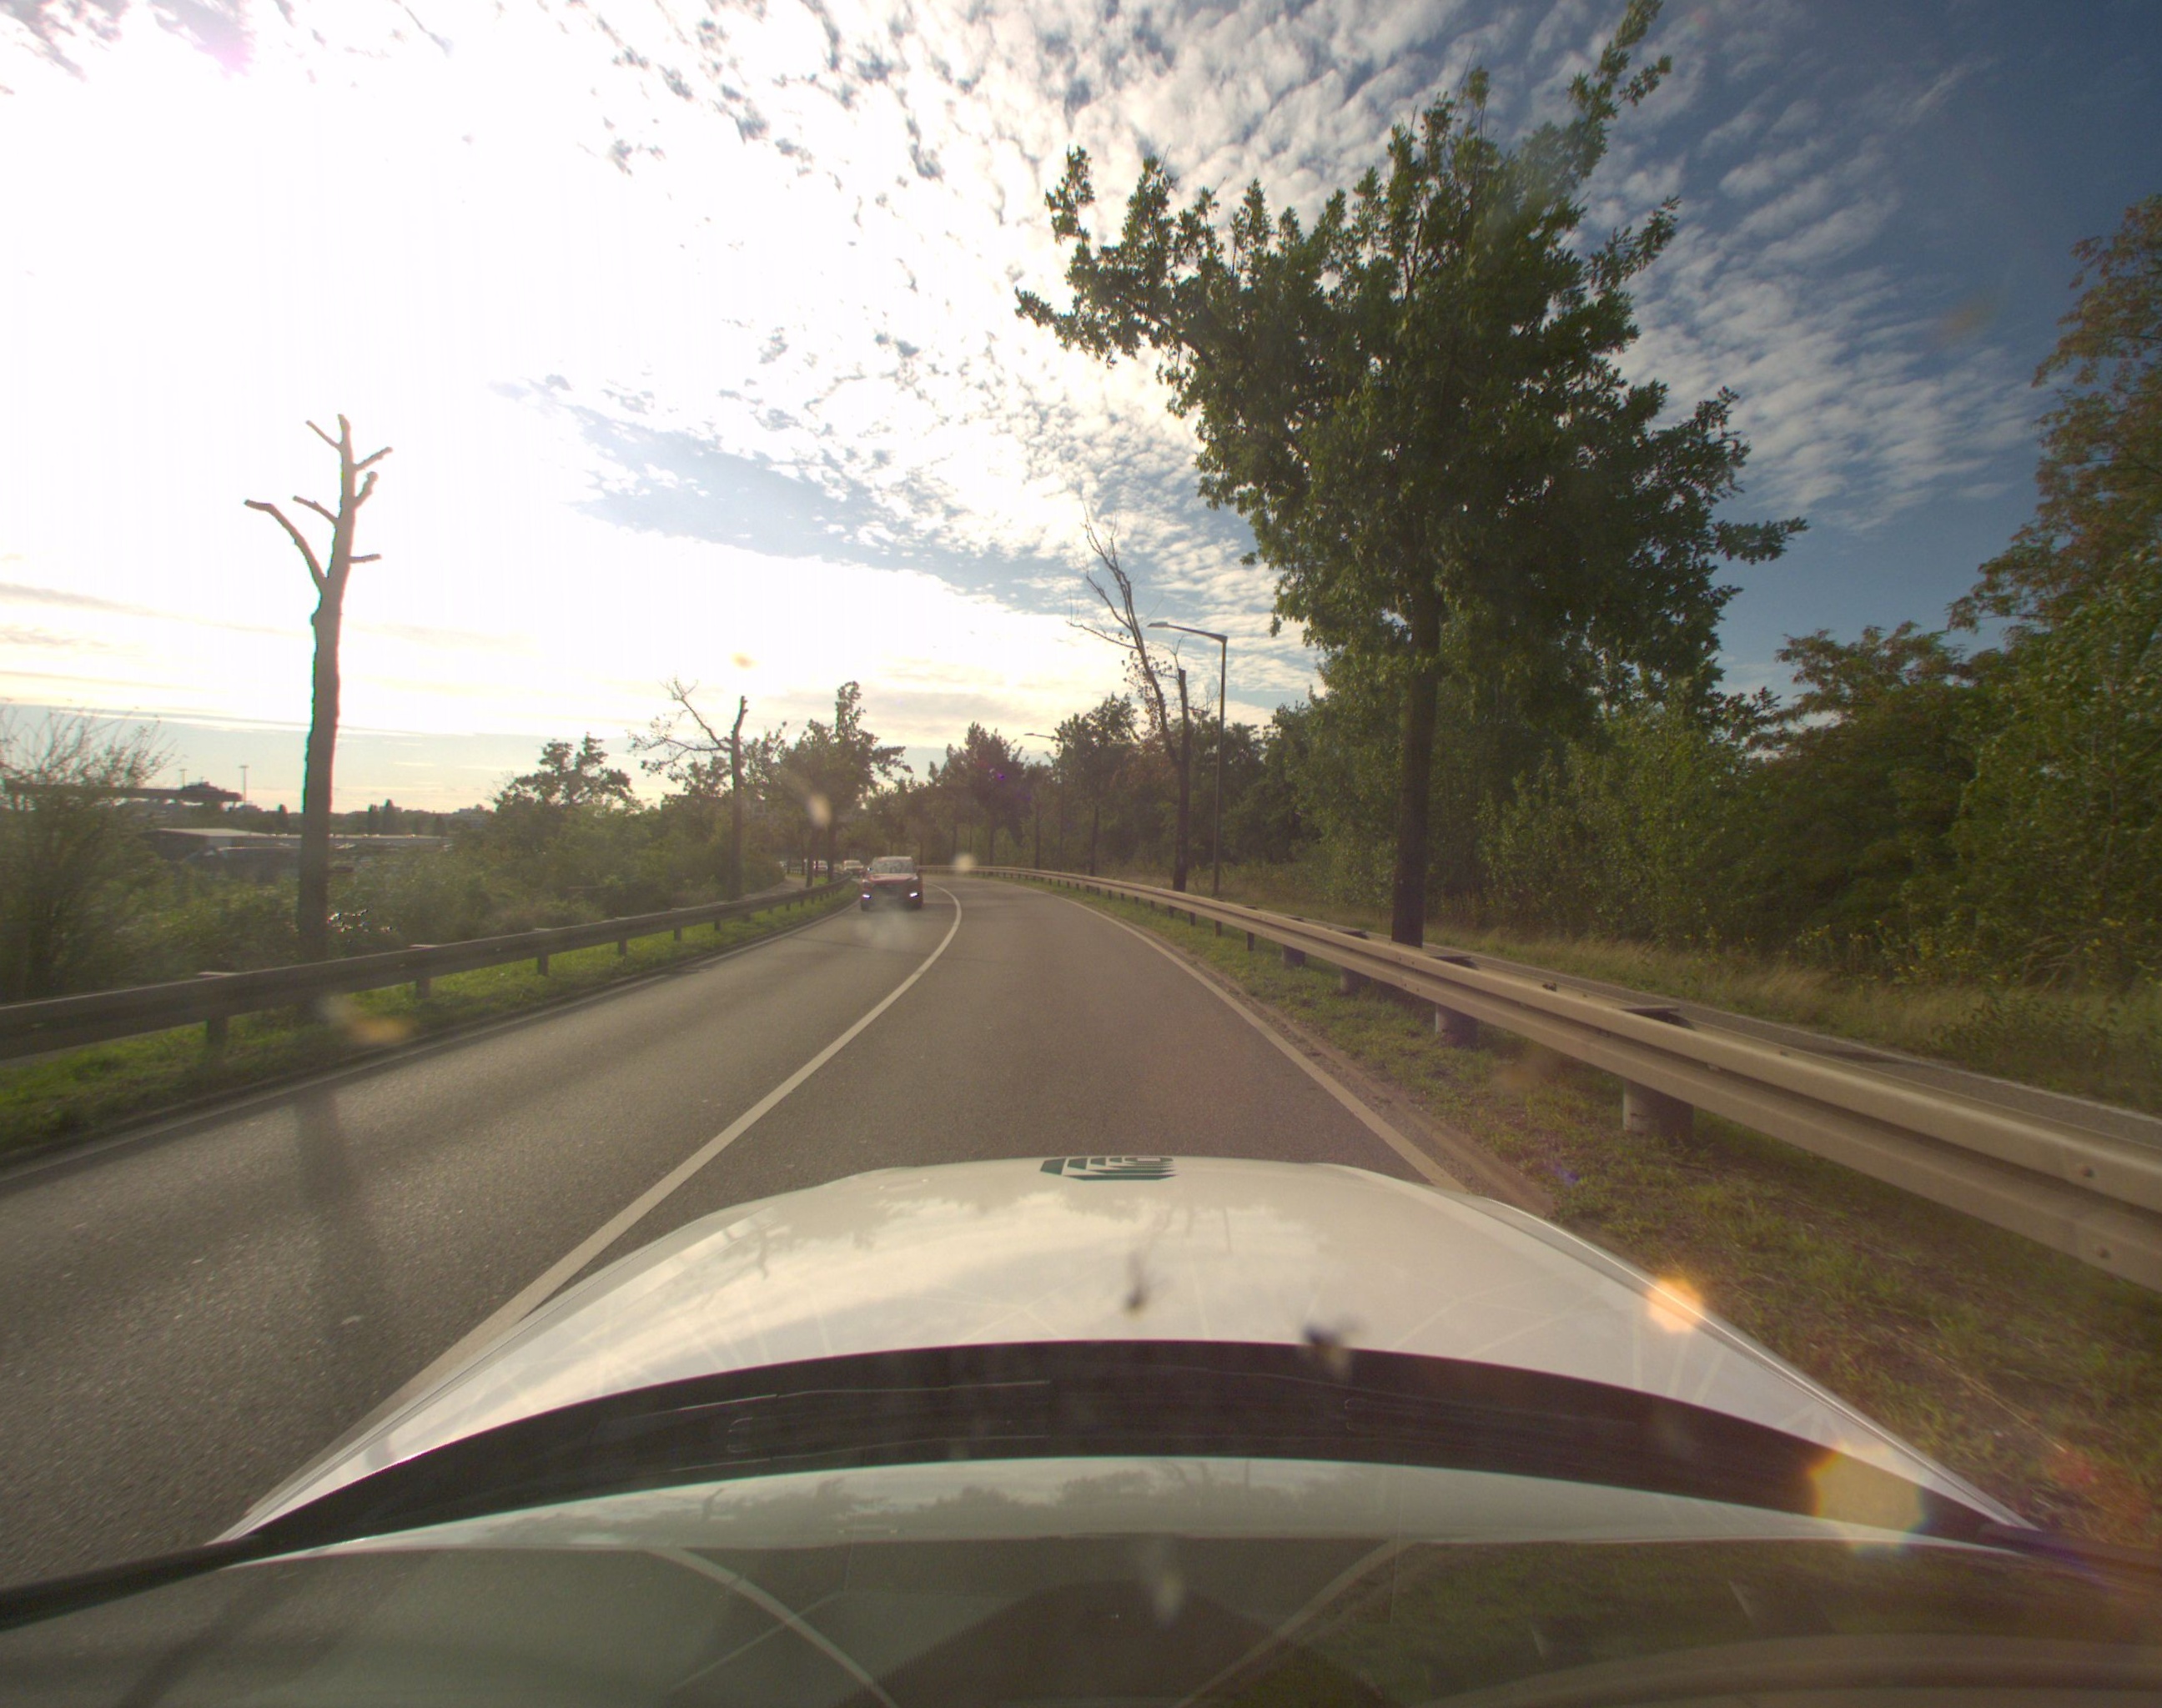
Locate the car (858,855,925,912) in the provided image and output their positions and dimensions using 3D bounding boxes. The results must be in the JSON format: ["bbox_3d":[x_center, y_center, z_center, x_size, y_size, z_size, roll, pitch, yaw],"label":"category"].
[{"bbox_3d":[-6.084,0.890,26.542,1.809,1.674,4.284,-1,0,-9],"label":"car"}]

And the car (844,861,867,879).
[{"bbox_3d":[-18.860,1.288,68.077,1.803,1.425,3.850,-1,0,-17],"label":"car"}]
